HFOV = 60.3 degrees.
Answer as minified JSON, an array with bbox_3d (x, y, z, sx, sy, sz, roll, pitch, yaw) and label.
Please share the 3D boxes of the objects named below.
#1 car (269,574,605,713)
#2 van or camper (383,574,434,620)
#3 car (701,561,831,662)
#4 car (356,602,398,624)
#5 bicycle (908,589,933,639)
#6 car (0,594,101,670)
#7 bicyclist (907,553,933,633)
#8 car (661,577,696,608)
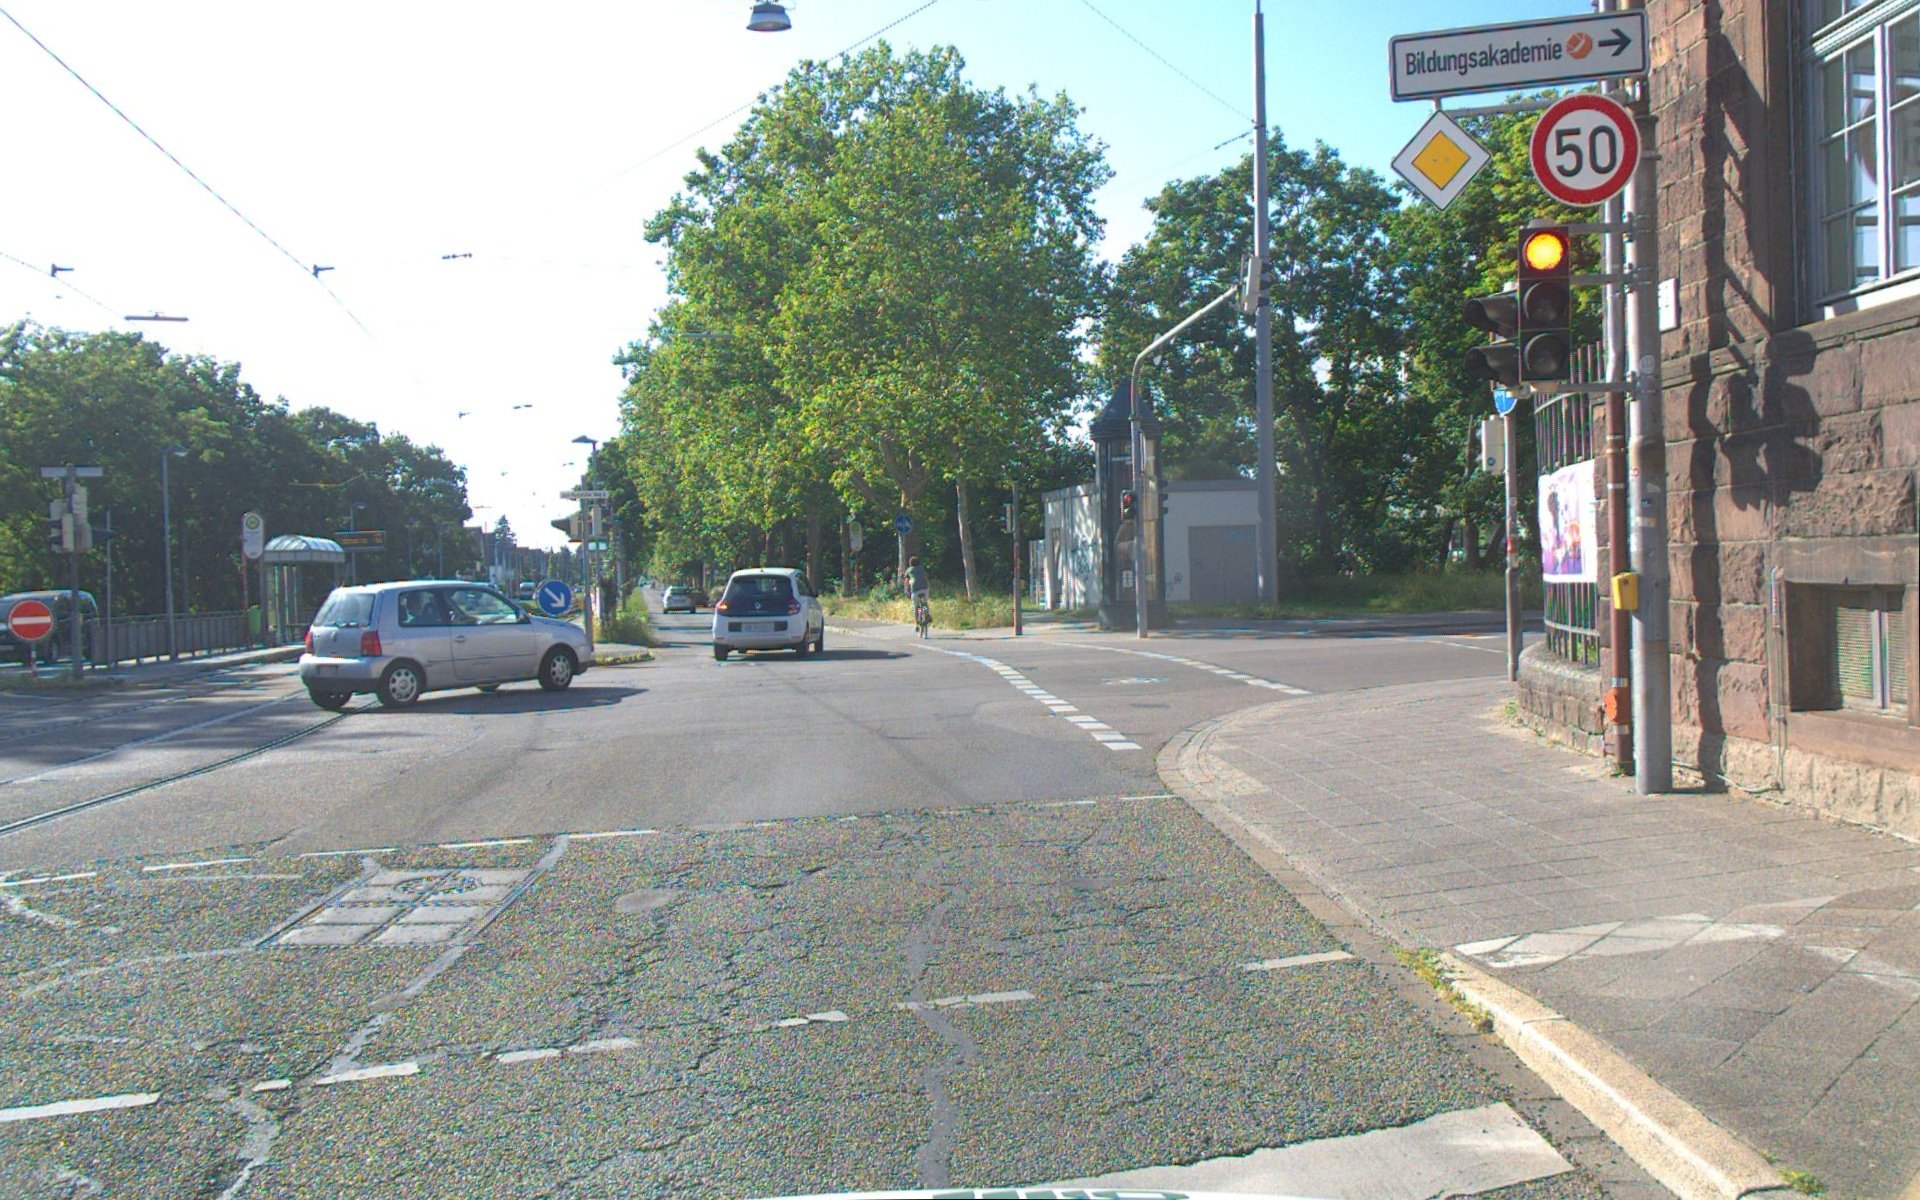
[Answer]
[{"bbox_3d":[-6.368,0.481,20.409,1.837,1.512,3.539,-1,1,38],"label":"car"},{"bbox_3d":[-40.798,-0.236,122.524,2.544,3.160,6.770,-2,1,-11],"label":"van or camper"},{"bbox_3d":[-3.395,0.167,29.638,1.714,1.632,3.751,-2,1,2],"label":"car"},{"bbox_3d":[-38.828,0.869,110.192,1.885,1.288,3.991,-2,1,-9],"label":"car"},{"bbox_3d":[-0.904,0.301,37.804,0.525,1.085,1.433,-2,1,-1],"label":"bicycle"},{"bbox_3d":[-23.570,0.805,41.812,1.959,1.797,5.016,-2,0,-12],"label":"car"},{"bbox_3d":[-0.923,-0.156,37.895,0.523,1.800,0.713,-2,1,-2],"label":"bicyclist"},{"bbox_3d":[-15.799,-0.414,92.745,1.720,1.632,3.570,-2,1,-12],"label":"car"}]
